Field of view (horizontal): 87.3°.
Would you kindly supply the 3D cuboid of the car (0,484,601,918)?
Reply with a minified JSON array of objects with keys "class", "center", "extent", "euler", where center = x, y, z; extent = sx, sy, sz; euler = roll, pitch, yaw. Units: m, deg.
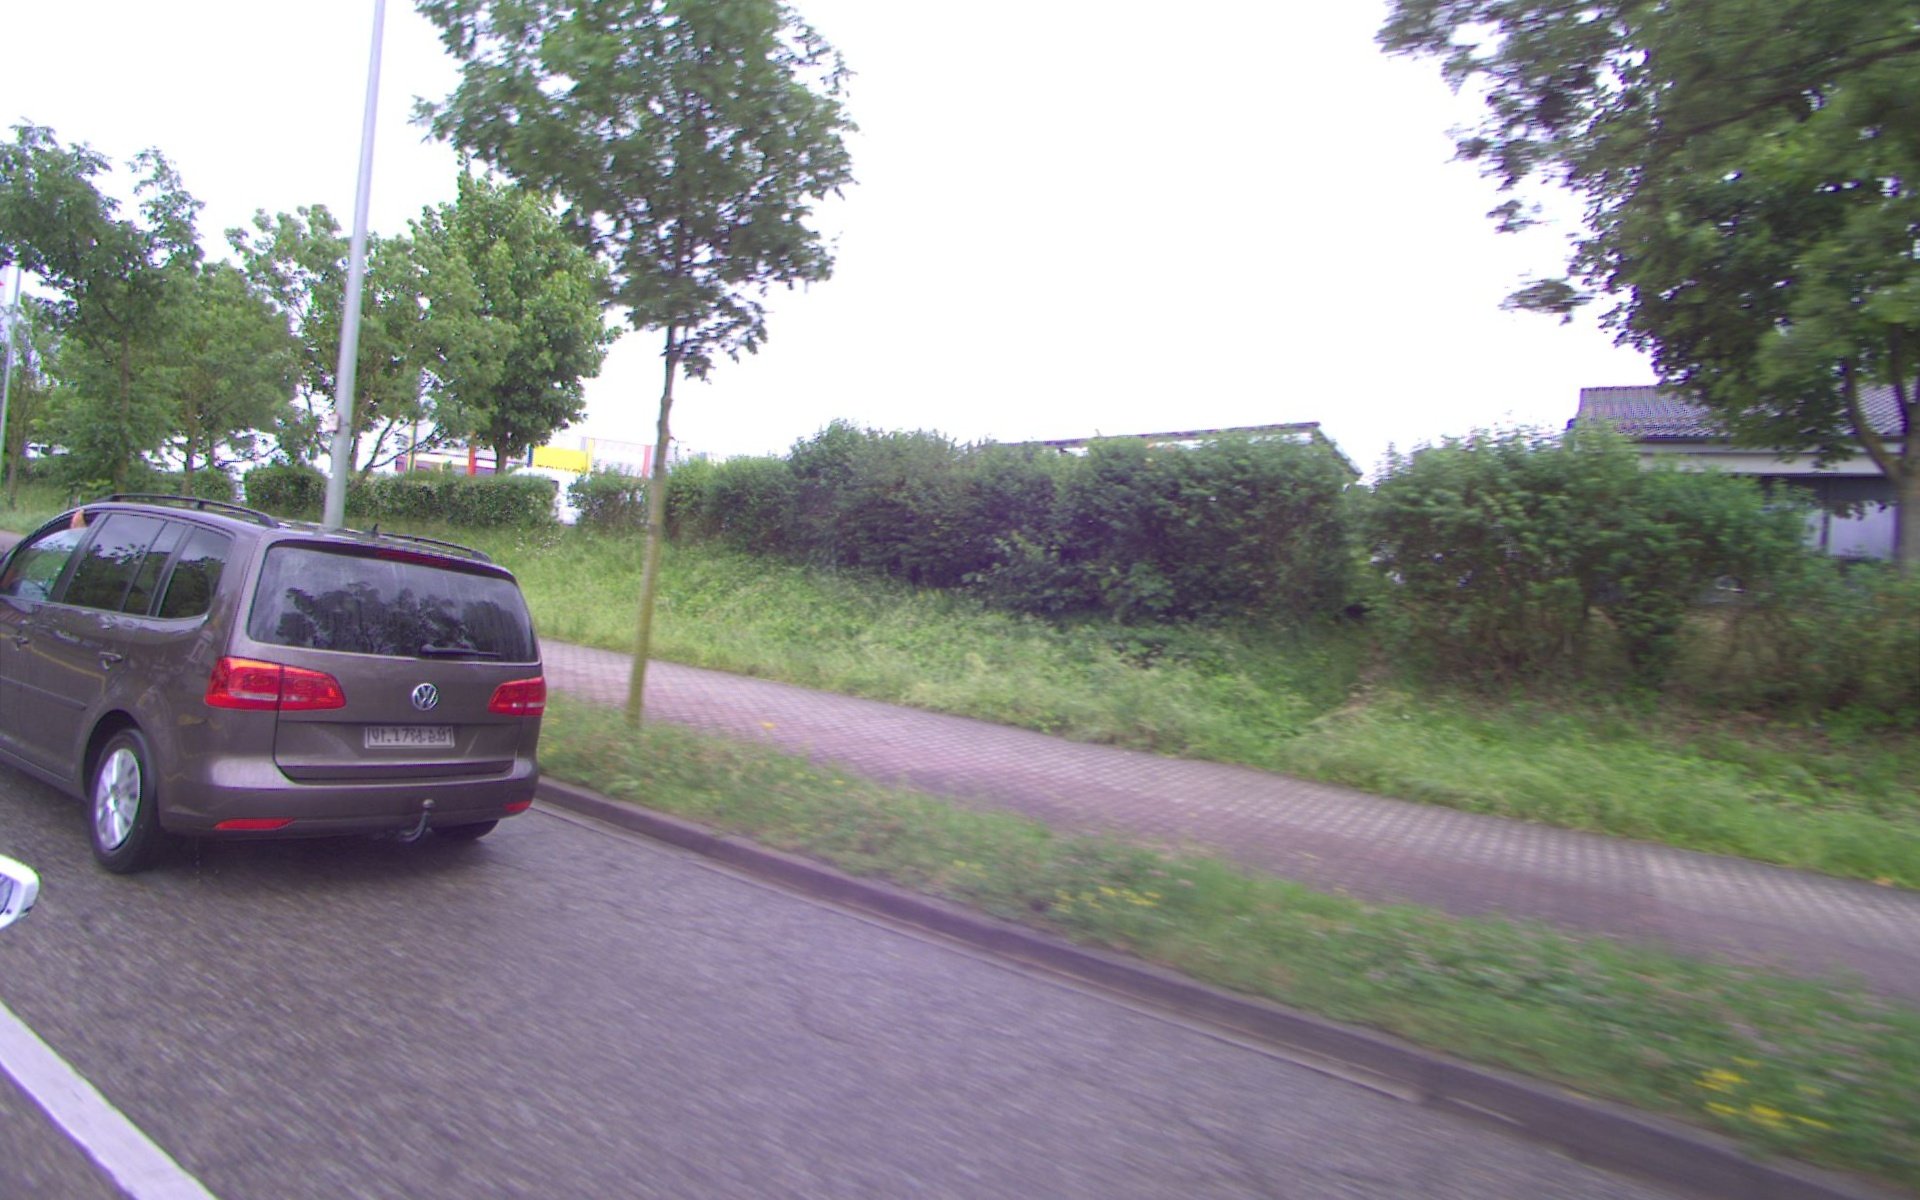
[{"class":"car","center":[-4.175,0.333,5.622],"extent":[4.148,1.598,1.689],"euler":[6,-3,31]}]

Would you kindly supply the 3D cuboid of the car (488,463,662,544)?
[{"class":"car","center":[-13.173,-3.267,34.895],"extent":[2.084,2.171,5.613],"euler":[6,2,26]}]

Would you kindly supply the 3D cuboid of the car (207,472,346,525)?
[{"class":"car","center":[-28.329,-4.176,41.823],"extent":[1.895,1.651,4.350],"euler":[6,2,28]}]
